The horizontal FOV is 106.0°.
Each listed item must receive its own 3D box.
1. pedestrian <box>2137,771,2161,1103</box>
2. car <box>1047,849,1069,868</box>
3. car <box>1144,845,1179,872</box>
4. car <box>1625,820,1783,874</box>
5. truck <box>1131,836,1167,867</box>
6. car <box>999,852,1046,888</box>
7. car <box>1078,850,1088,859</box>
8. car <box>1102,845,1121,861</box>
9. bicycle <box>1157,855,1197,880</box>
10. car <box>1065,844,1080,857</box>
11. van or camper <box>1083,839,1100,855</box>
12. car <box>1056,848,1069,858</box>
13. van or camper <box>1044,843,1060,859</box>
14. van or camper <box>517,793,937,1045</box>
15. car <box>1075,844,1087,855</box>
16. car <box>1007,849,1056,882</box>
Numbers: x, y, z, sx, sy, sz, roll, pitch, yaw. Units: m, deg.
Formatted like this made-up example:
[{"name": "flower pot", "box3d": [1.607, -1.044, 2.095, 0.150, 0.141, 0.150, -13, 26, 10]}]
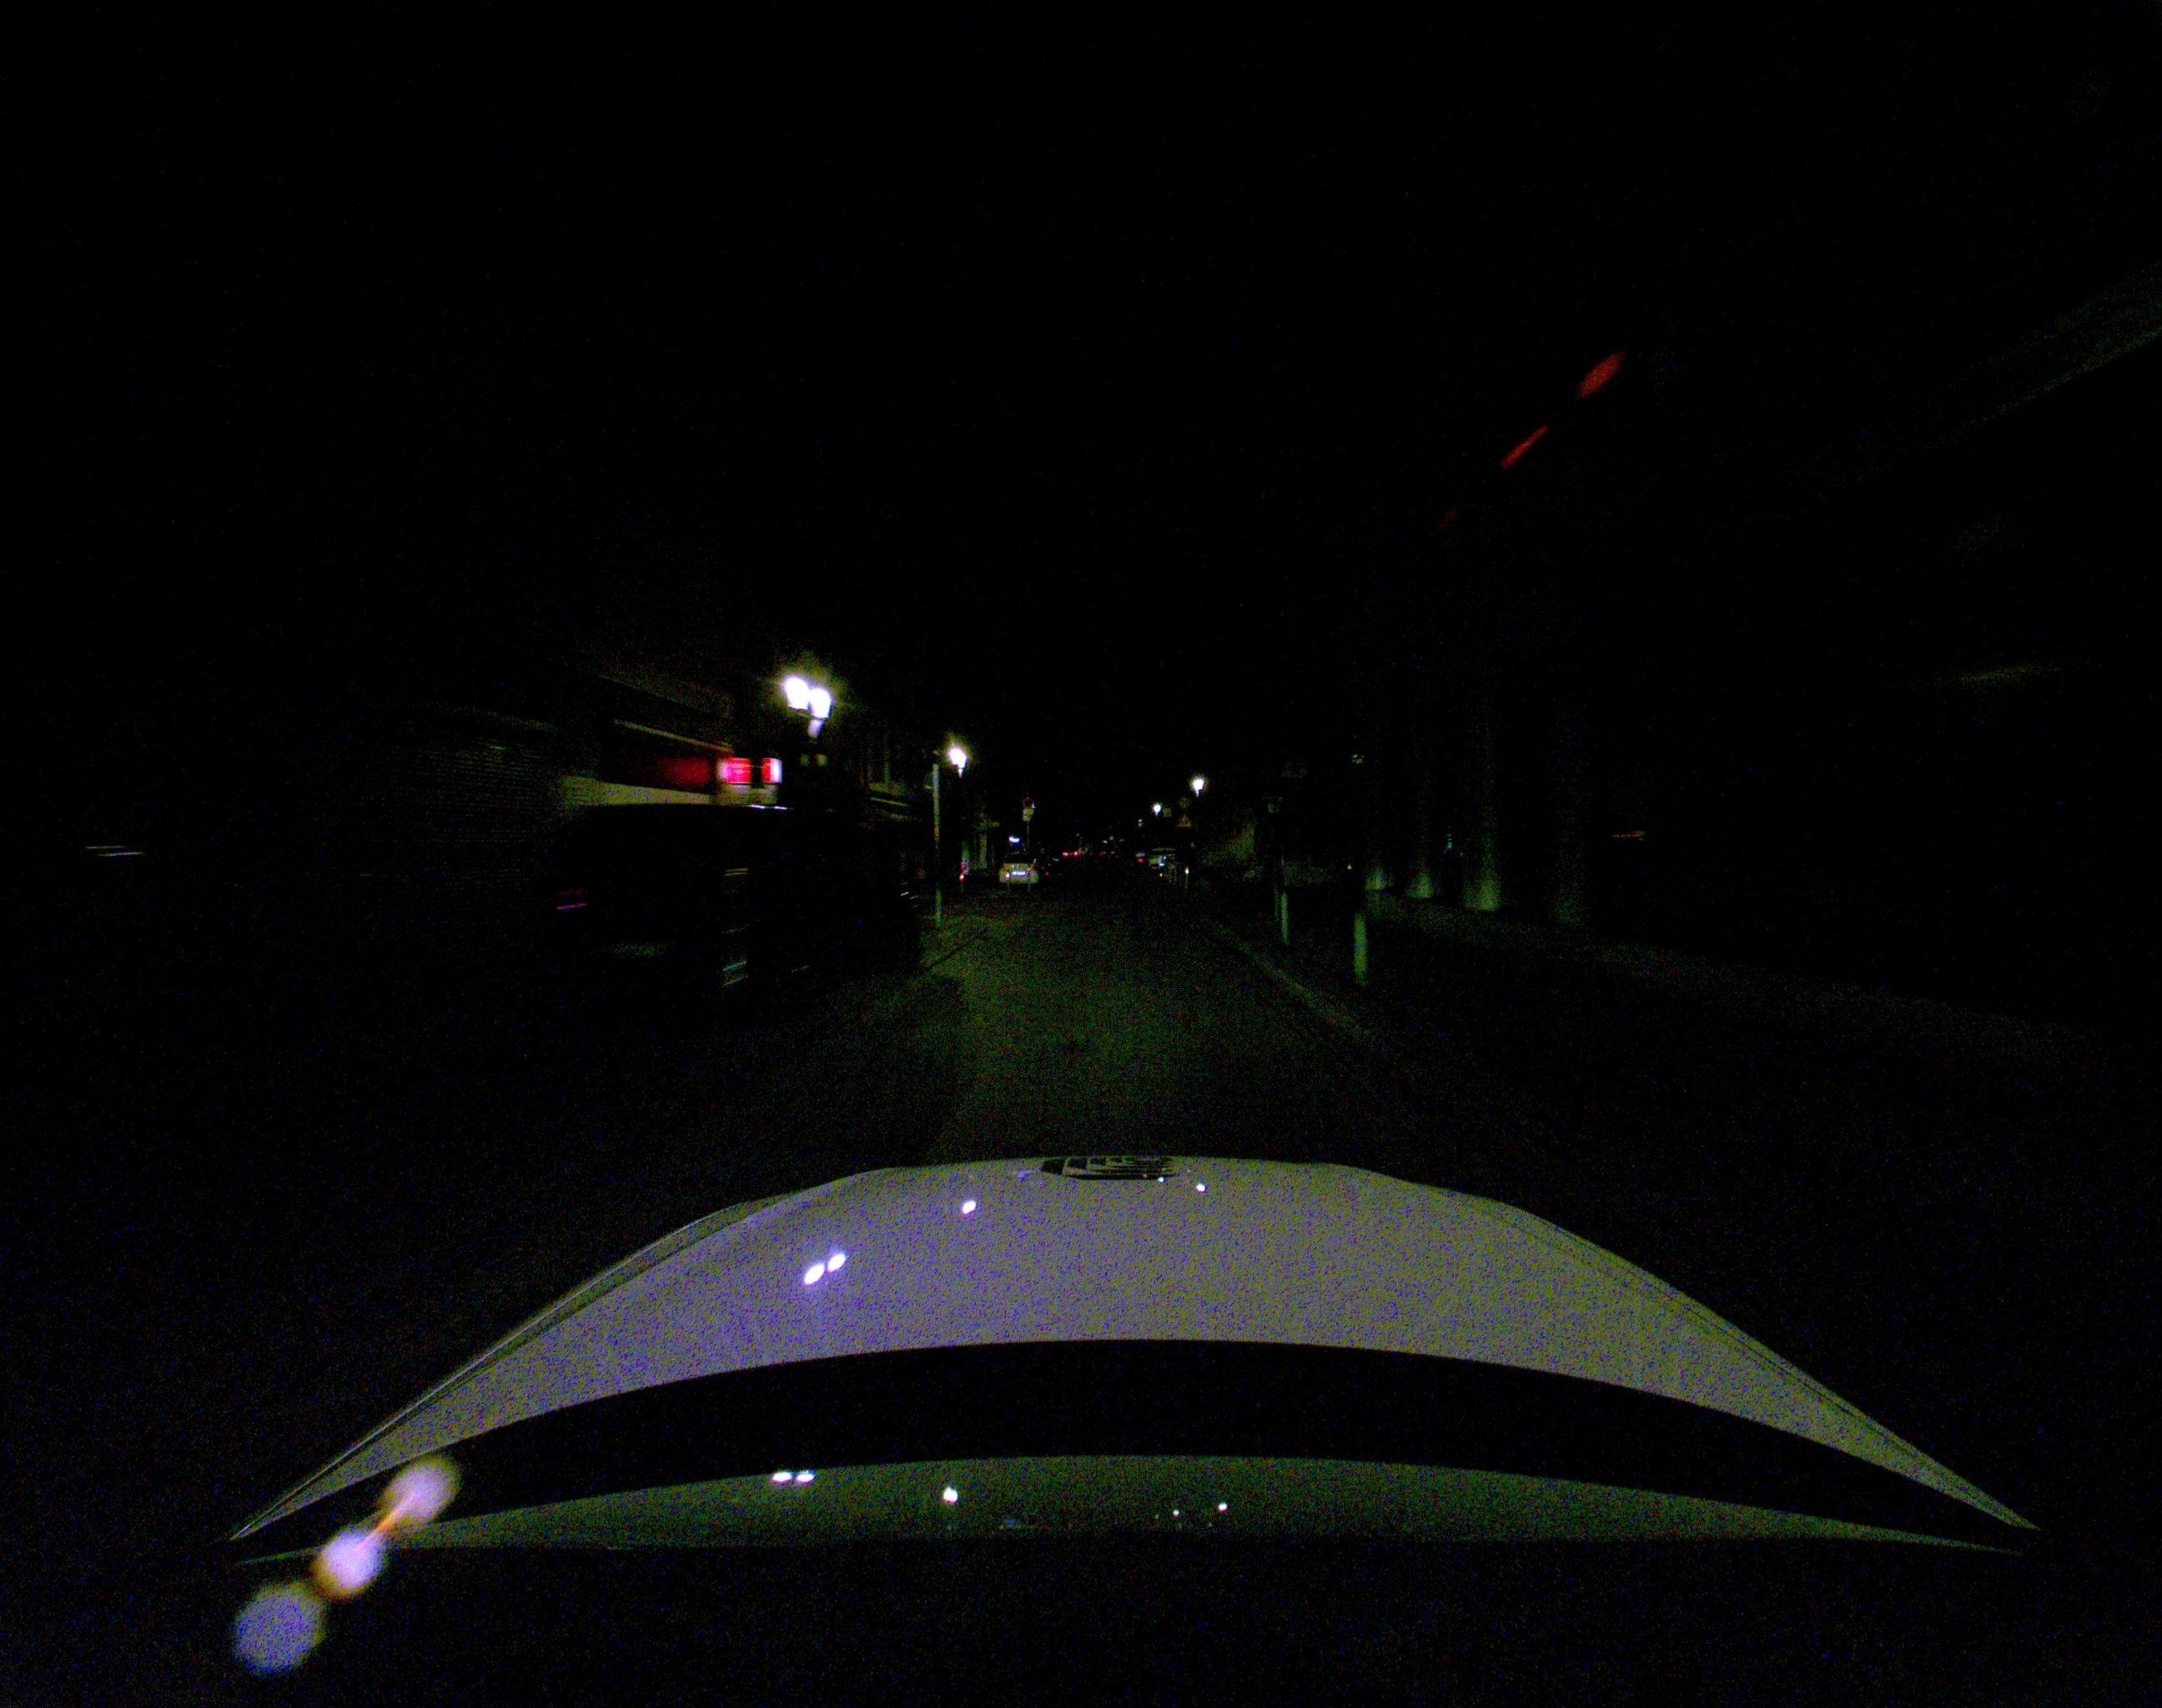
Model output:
[{"name": "pedestrian", "box3d": [5.251, 0.385, 3.607, 0.498, 1.547, 0.481, 0, 0, 7]}, {"name": "car", "box3d": [-1.991, 0.378, 68.669, 1.670, 1.543, 4.224, 0, 0, -4]}, {"name": "car", "box3d": [4.745, 0.252, 48.674, 1.782, 1.491, 4.061, -3, 0, 2]}, {"name": "car", "box3d": [20.232, -0.220, 26.559, 3.838, 1.588, 1.662, -2, 0, 1]}, {"name": "truck", "box3d": [5.290, -0.216, 64.113, 2.328, 2.312, 5.781, -2, 1, 1]}, {"name": "car", "box3d": [-2.475, 0.645, 35.187, 1.722, 1.476, 3.847, 0, 0, 0]}, {"name": "car", "box3d": [0.330, 0.032, 138.559, 1.528, 1.418, 3.840, -1, 0, -4]}, {"name": "car", "box3d": [3.743, -0.176, 99.521, 1.812, 1.828, 4.340, -2, 0, -5]}, {"name": "bicycle", "box3d": [4.394, 0.613, 37.242, 1.749, 1.062, 0.346, -2, 0, -2]}, {"name": "car", "box3d": [-1.290, -0.478, 120.420, 1.990, 1.823, 3.995, -1, 0, -4]}, {"name": "van or camper", "box3d": [1.614, -1.133, 125.837, 2.105, 2.317, 4.254, -3, 1, -5]}, {"name": "car", "box3d": [-3.021, -0.170, 134.659, 1.989, 1.702, 3.995, -1, 0, -4]}, {"name": "van or camper", "box3d": [-3.853, -0.442, 106.532, 1.864, 2.011, 4.254, 0, 0, -5]}, {"name": "van or camper", "box3d": [-3.253, 0.489, 8.943, 1.836, 1.942, 5.164, 0, 0, 7]}, {"name": "car", "box3d": [0.014, -0.797, 144.424, 1.836, 1.901, 3.840, -1, 0, -4]}, {"name": "car", "box3d": [-2.374, 0.534, 40.520, 2.012, 1.488, 5.008, 2, 0, 1]}]
